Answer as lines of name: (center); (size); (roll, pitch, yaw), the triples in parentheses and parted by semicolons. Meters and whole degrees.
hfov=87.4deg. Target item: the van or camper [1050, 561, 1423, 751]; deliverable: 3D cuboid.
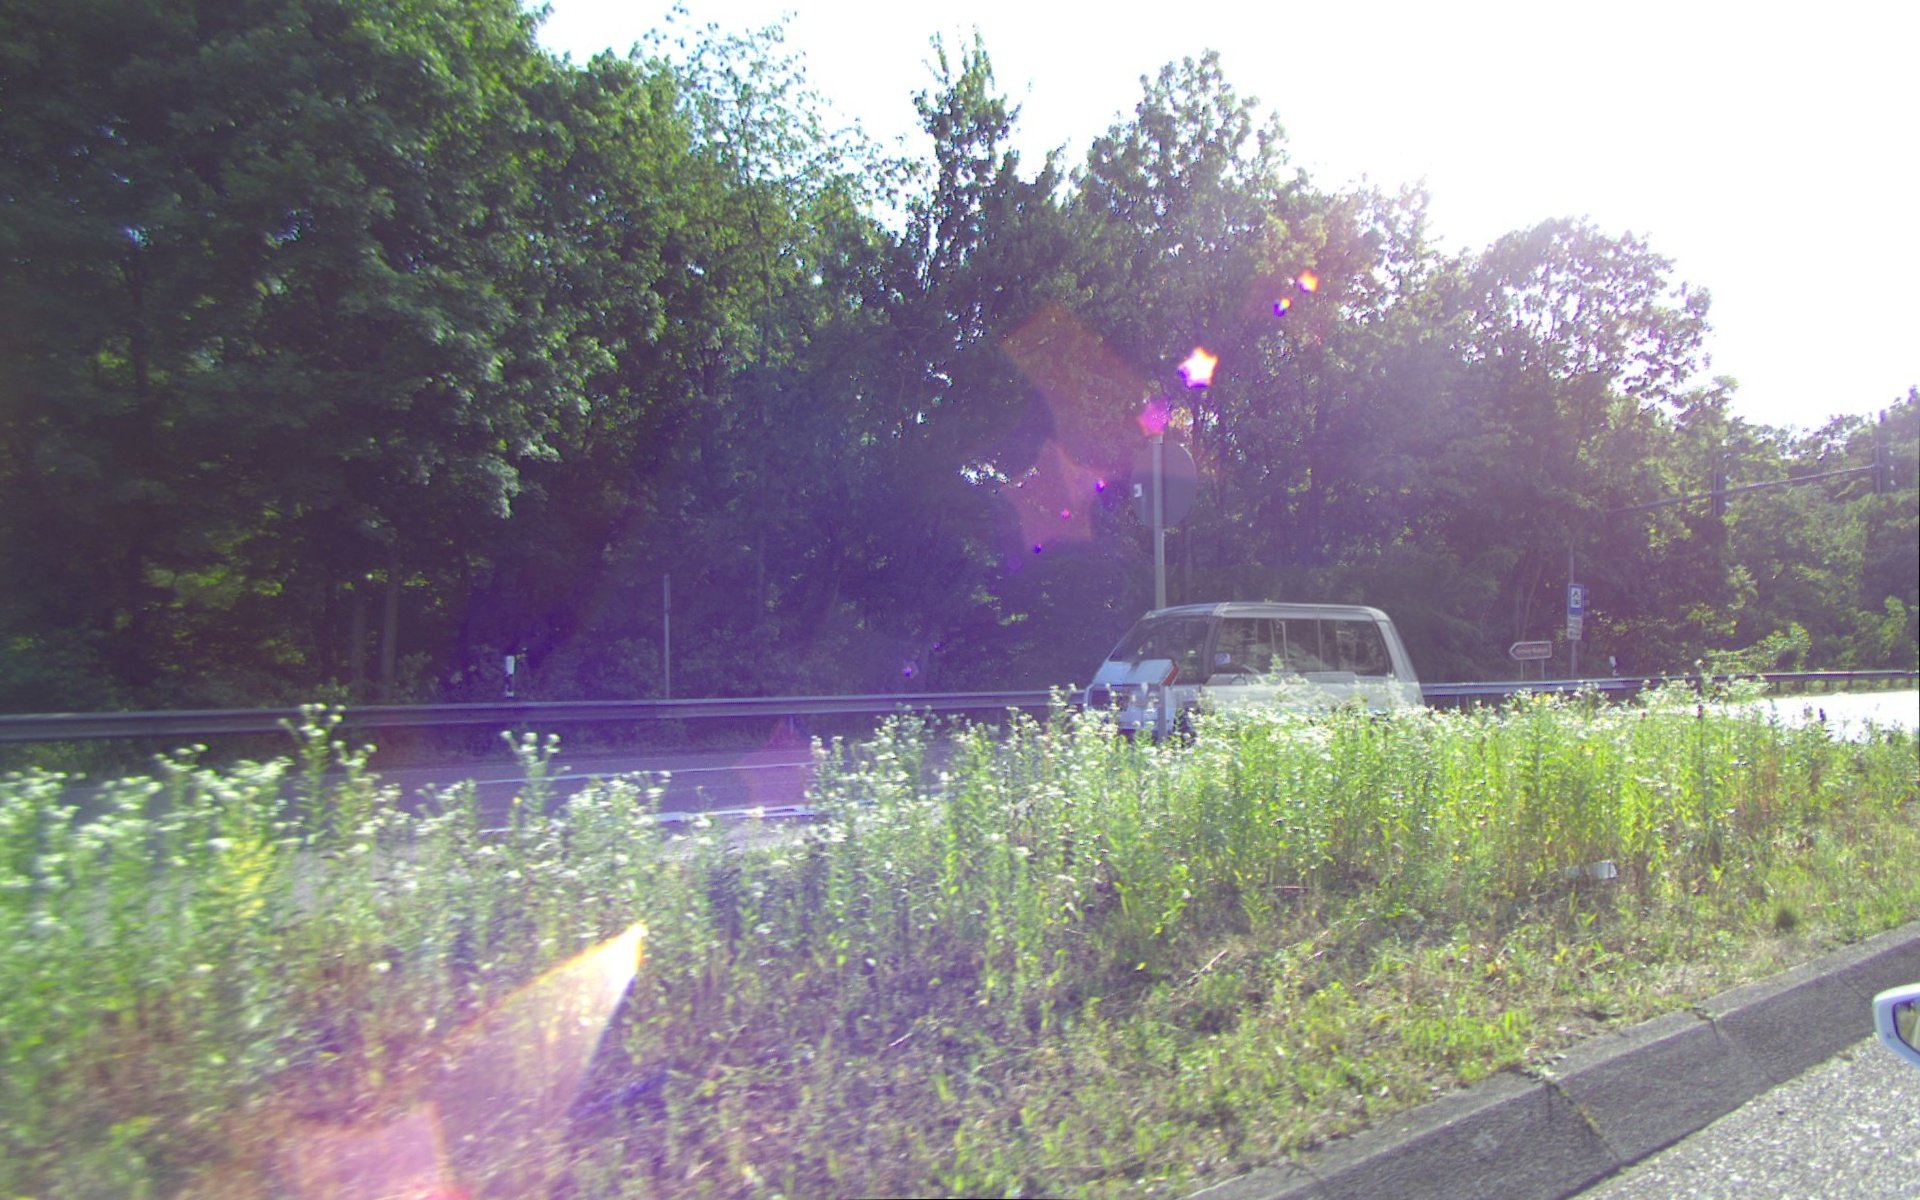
van or camper: (4.844, 0.968, 17.256); (6.362, 2.746, 2.402); (2, -4, -30)
